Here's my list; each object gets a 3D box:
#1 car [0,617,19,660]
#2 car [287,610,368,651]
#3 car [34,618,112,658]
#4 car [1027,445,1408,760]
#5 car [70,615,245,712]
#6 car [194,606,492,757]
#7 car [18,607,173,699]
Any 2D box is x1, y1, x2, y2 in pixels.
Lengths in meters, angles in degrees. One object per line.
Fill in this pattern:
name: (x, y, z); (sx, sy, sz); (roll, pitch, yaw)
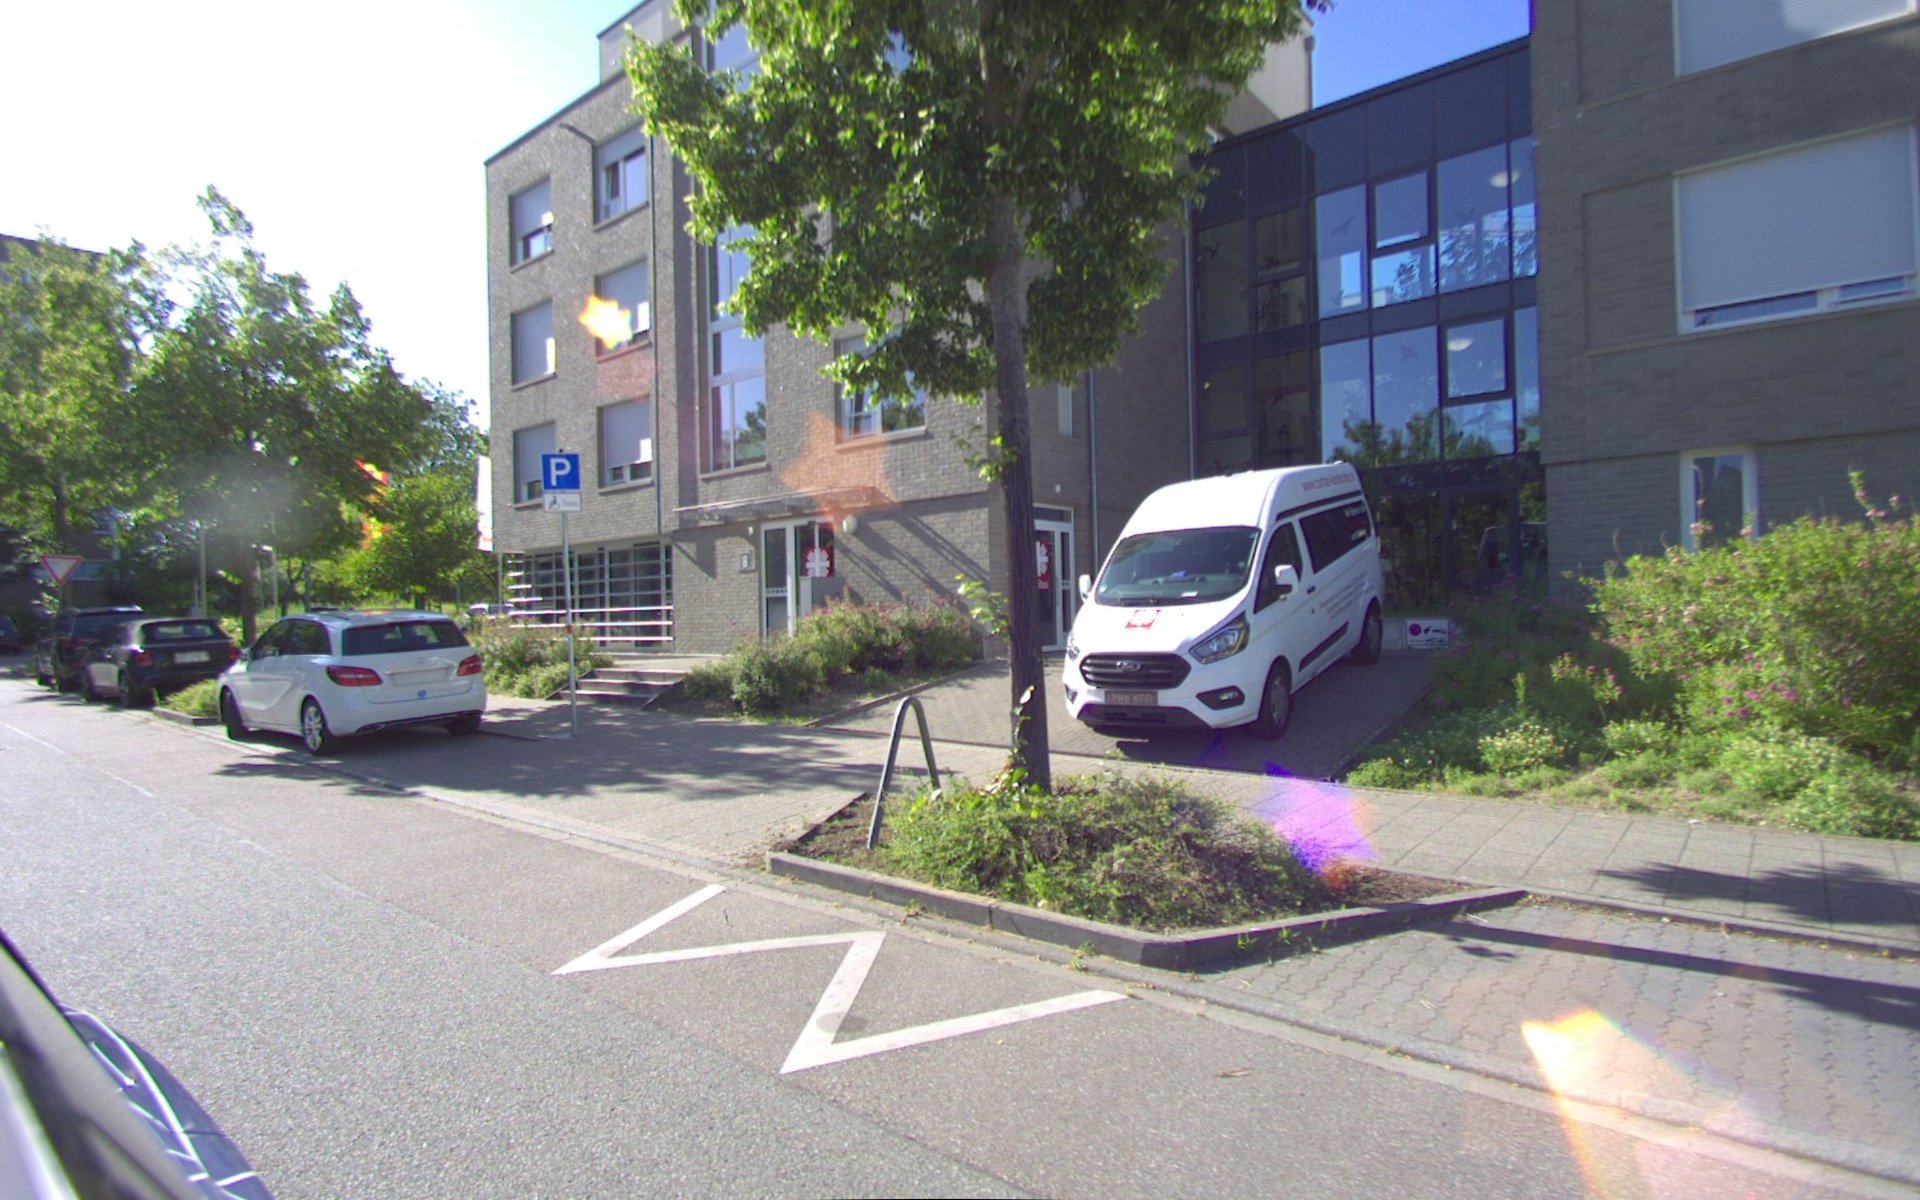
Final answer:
car: (-37.717, 1.464, 38.892); (3.815, 1.510, 1.680); (1, 0, 37)
car: (-29.857, 1.381, 47.698); (4.599, 1.792, 1.973); (0, 0, 41)
car: (-35.937, 1.507, 40.976); (3.998, 1.397, 1.798); (1, 1, 40)
car: (3.048, -0.273, 10.731); (1.918, 2.399, 5.401); (-2, 7, 36)
car: (-14.233, 1.063, 17.890); (3.784, 1.515, 1.563); (-2, -1, 37)
car: (-7.618, 0.897, 12.346); (4.279, 1.544, 1.644); (-2, -1, 37)
car: (-18.436, 1.027, 21.511); (4.337, 1.631, 1.867); (0, 3, 42)
